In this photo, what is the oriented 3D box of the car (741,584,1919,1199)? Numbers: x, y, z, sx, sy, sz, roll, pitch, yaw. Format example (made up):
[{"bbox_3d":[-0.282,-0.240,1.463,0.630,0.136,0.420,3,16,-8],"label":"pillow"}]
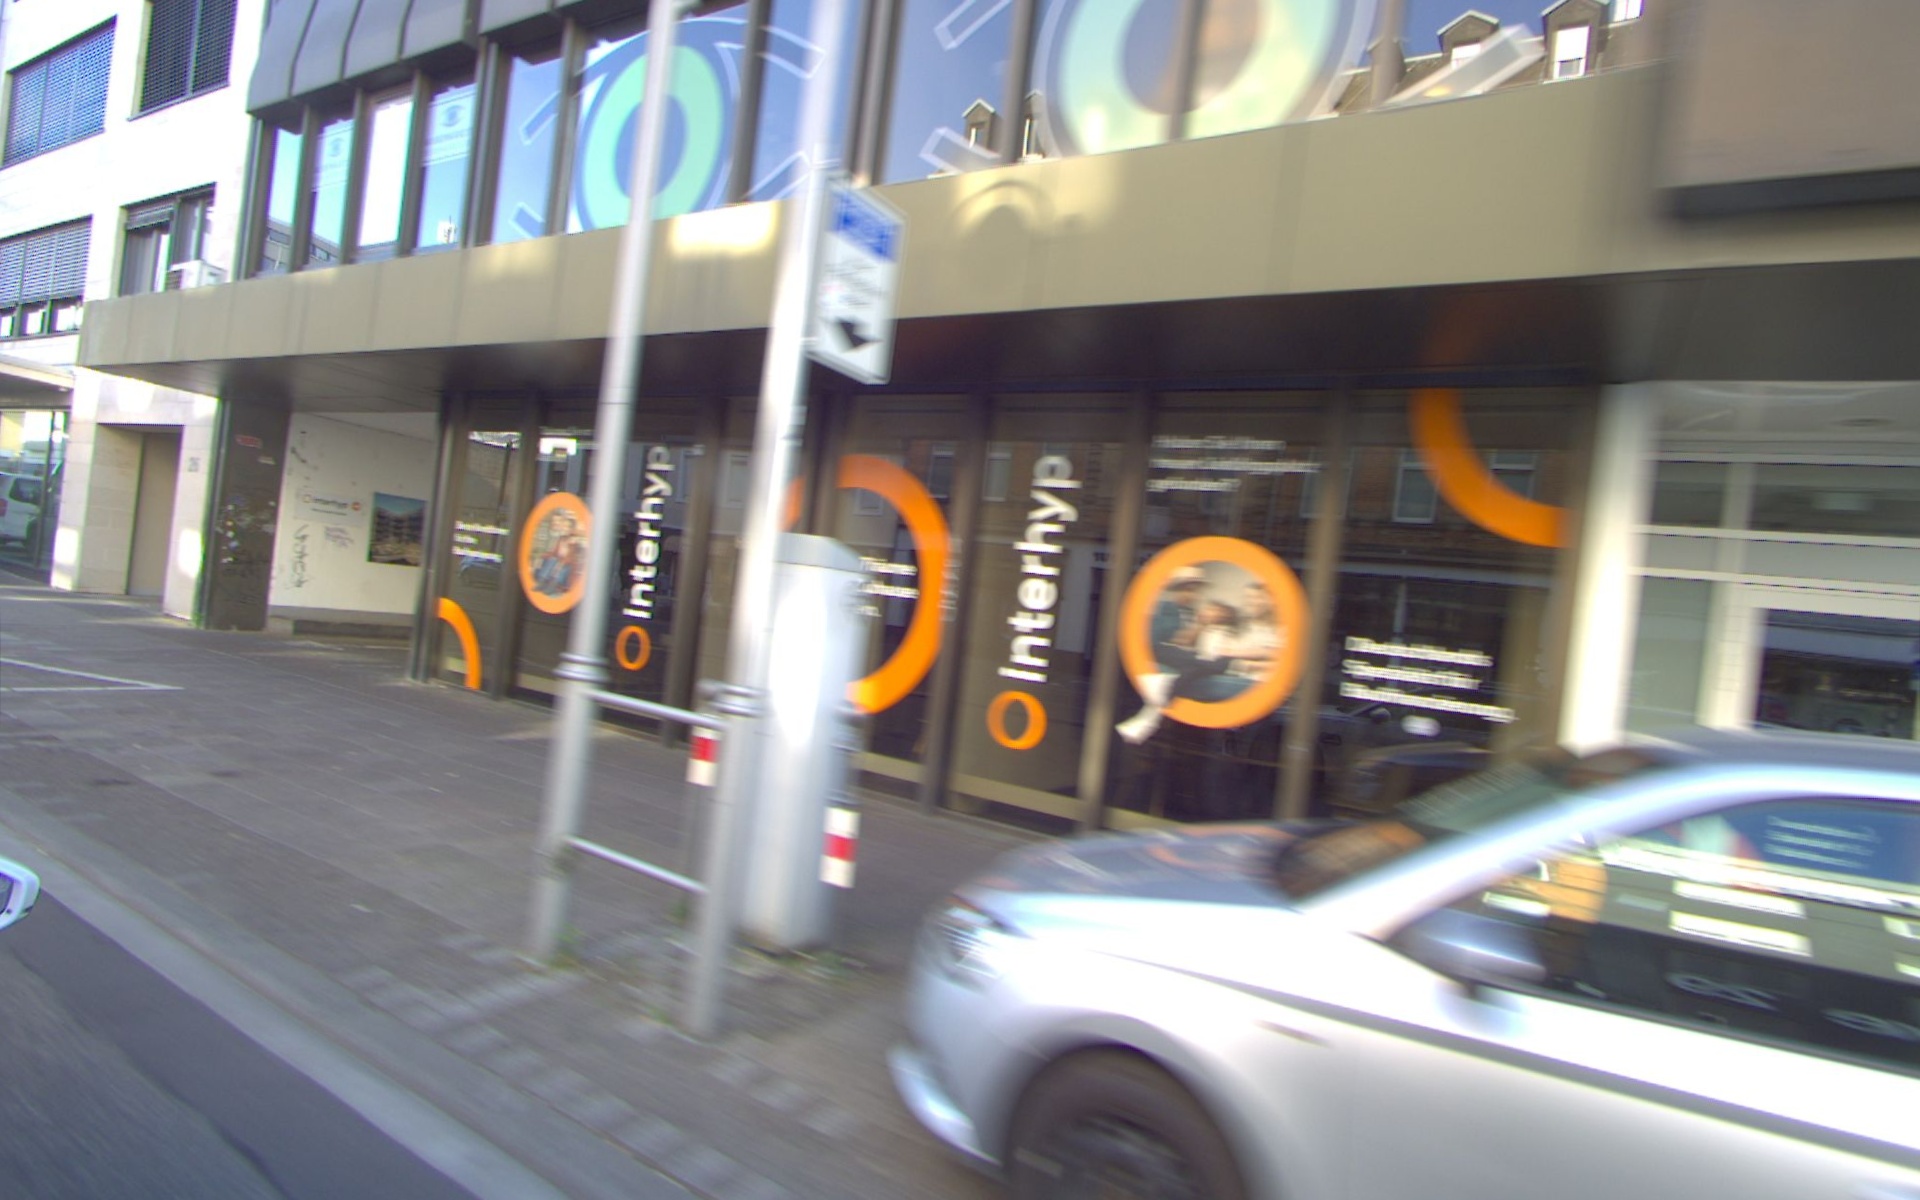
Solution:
[{"bbox_3d":[1.747,0.969,2.213,4.225,1.480,1.747,7,0,32],"label":"car"}]
